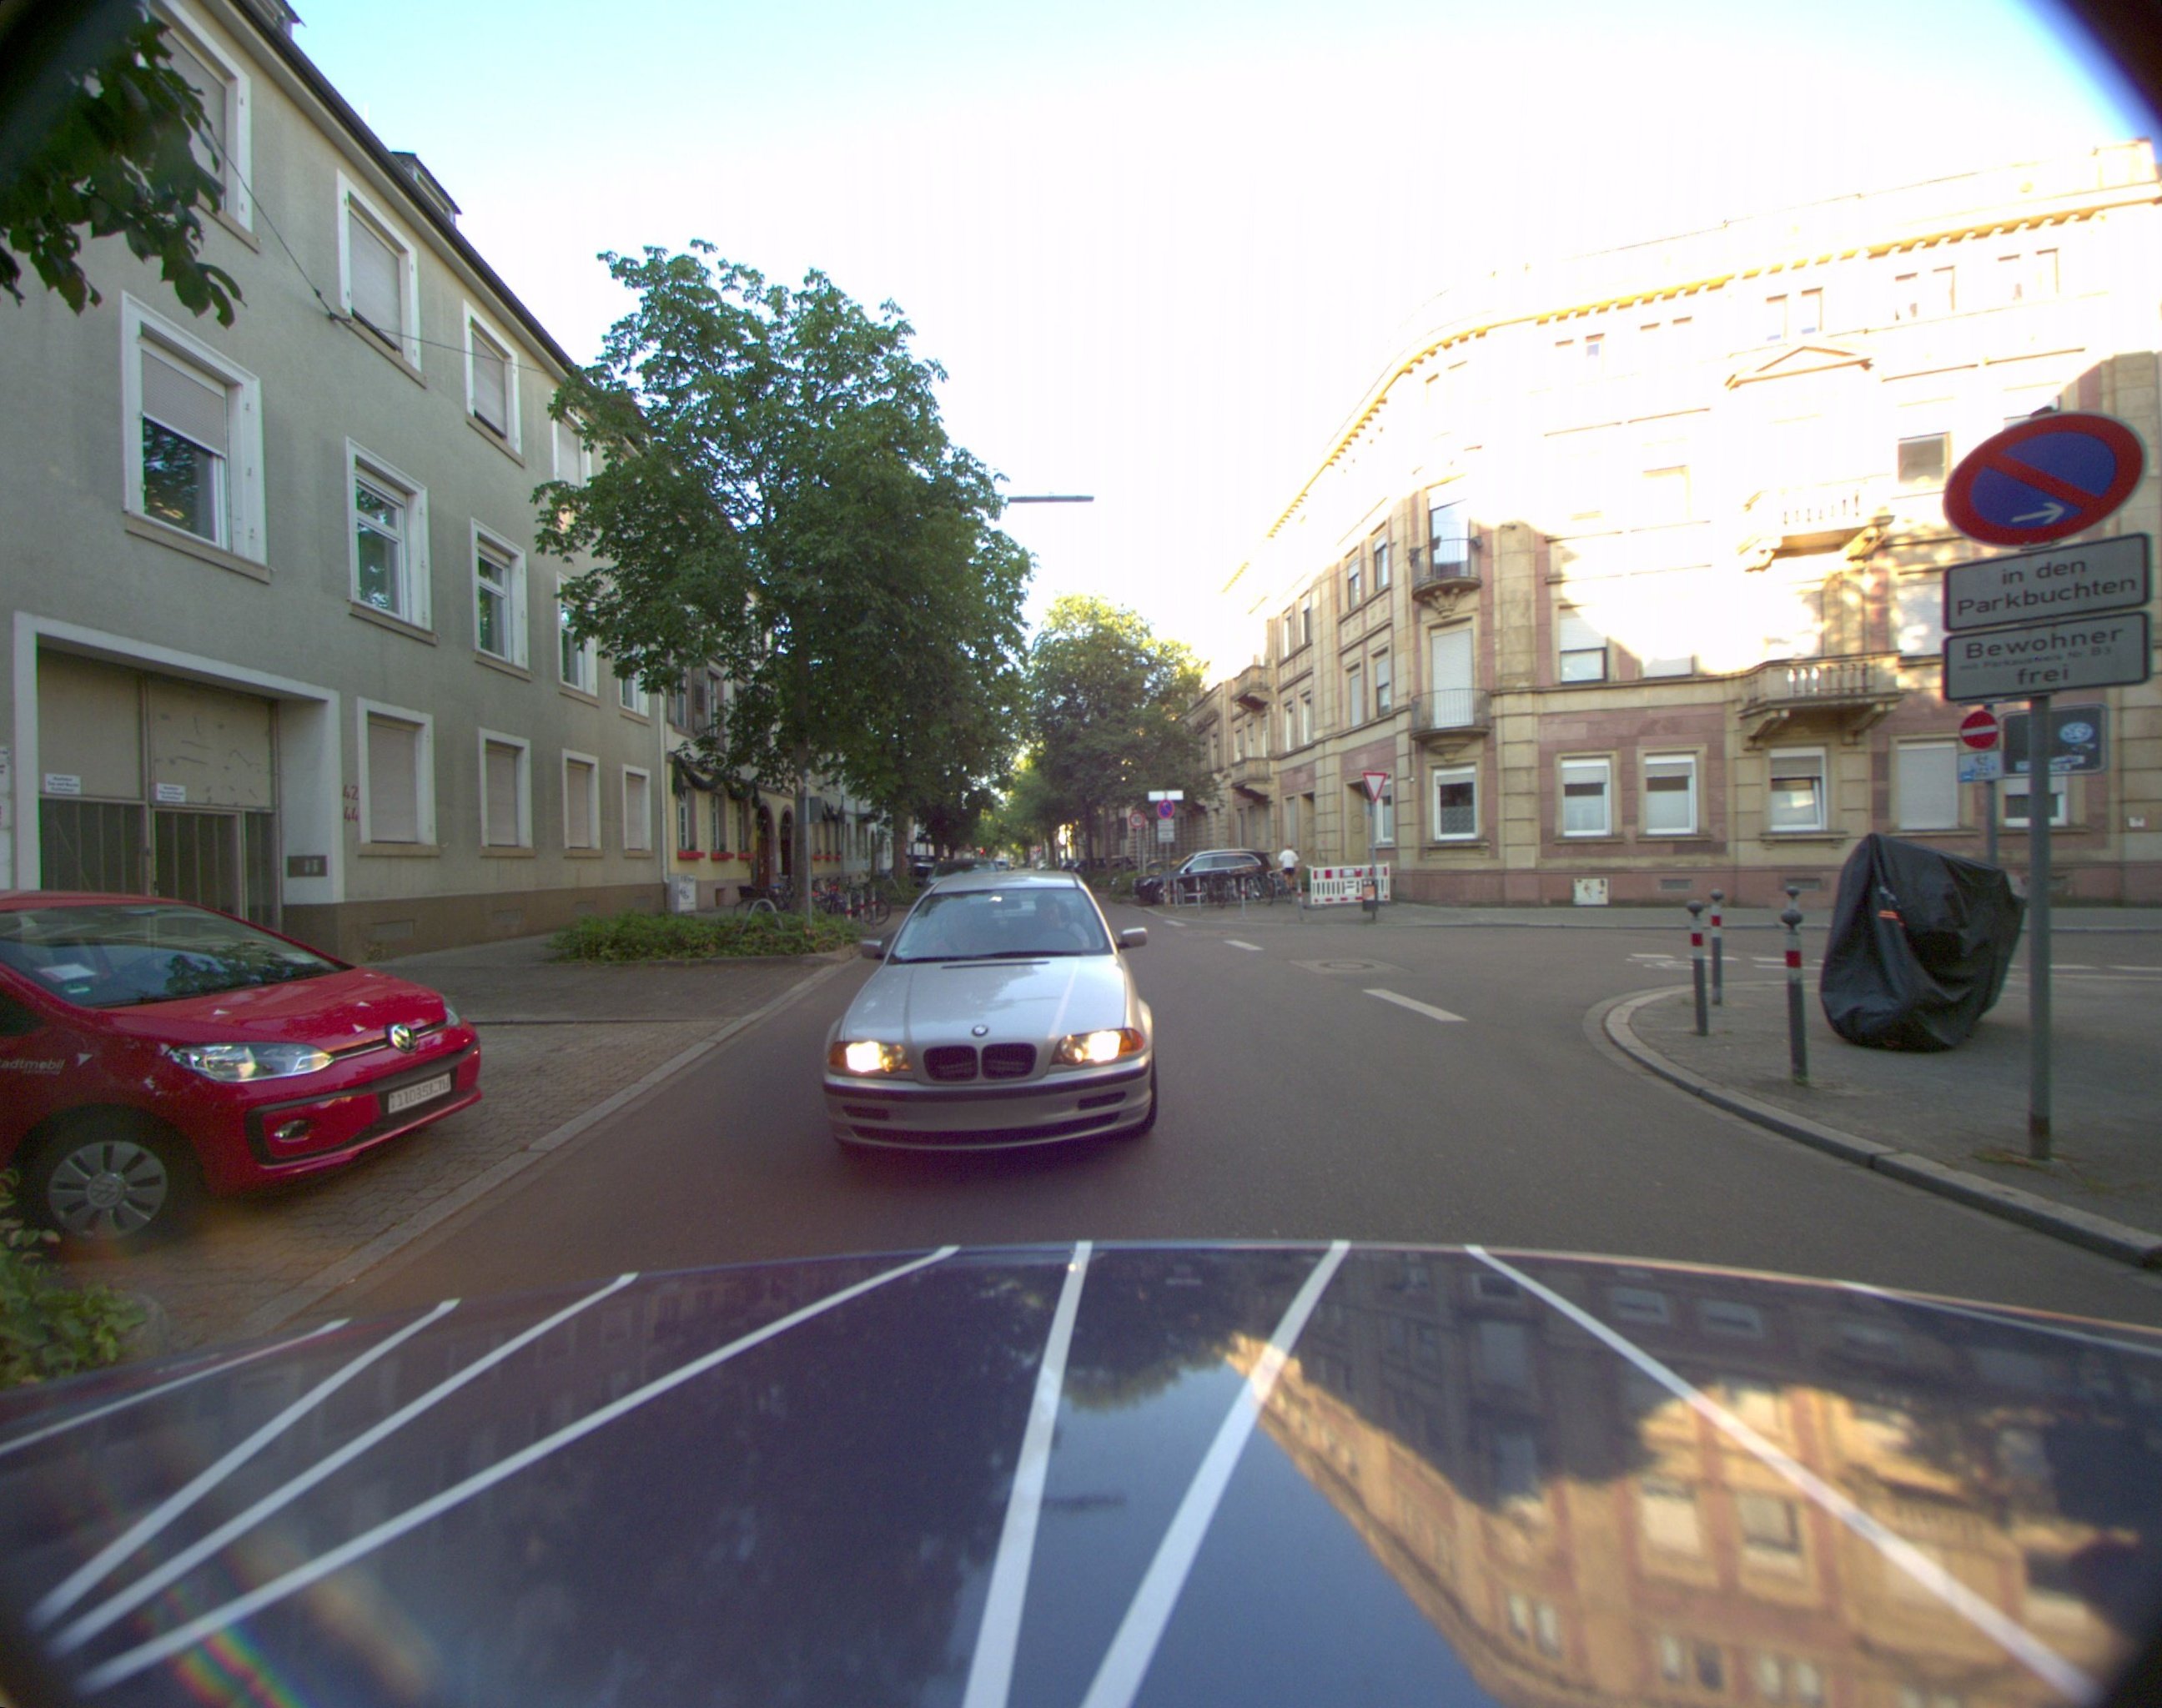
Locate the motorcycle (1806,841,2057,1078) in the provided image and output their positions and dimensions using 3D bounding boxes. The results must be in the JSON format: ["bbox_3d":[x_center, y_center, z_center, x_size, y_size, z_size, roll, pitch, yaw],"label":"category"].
[{"bbox_3d":[6.510,0.669,5.780,2.286,1.496,0.816,-1,1,-30],"label":"motorcycle"}]

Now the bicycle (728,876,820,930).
[{"bbox_3d":[-7.483,1.174,18.592,2.030,1.220,0.535,-1,0,-16],"label":"bicycle"}]

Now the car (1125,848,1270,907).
[{"bbox_3d":[3.733,0.735,24.809,4.423,1.771,1.741,-1,0,-2],"label":"car"}]

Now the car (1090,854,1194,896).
[{"bbox_3d":[2.537,0.870,32.230,4.243,1.668,1.742,-1,0,-1],"label":"car"}]

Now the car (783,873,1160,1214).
[{"bbox_3d":[-0.476,0.936,5.735,1.711,1.433,4.436,-1,0,1],"label":"car"}]

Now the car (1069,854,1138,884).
[{"bbox_3d":[1.413,0.932,48.523,4.245,1.749,1.741,-1,0,-5],"label":"car"}]

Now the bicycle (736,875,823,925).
[{"bbox_3d":[-7.804,1.174,19.738,2.029,1.220,0.535,-1,0,-13],"label":"bicycle"}]

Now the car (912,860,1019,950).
[{"bbox_3d":[-2.239,0.929,15.663,1.806,1.543,3.998,-1,0,-4],"label":"car"}]

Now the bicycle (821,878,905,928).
[{"bbox_3d":[-5.650,1.274,19.779,2.029,1.220,0.535,-1,0,-11],"label":"bicycle"}]

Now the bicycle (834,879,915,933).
[{"bbox_3d":[-5.026,1.248,18.539,1.849,1.220,0.535,-1,0,-16],"label":"bicycle"}]

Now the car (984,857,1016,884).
[{"bbox_3d":[-4.971,0.963,47.045,1.806,1.543,3.999,-1,0,-3],"label":"car"}]

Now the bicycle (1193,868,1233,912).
[{"bbox_3d":[3.753,1.011,21.803,0.562,1.144,2.038,-1,0,-6],"label":"bicycle"}]

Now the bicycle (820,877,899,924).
[{"bbox_3d":[-6.117,1.277,21.060,2.029,1.220,0.535,-1,0,-11],"label":"bicycle"}]

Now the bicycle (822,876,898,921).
[{"bbox_3d":[-6.359,1.277,21.930,2.029,1.220,0.535,-1,0,-11],"label":"bicycle"}]

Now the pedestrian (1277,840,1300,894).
[{"bbox_3d":[7.041,0.431,25.793,0.572,1.797,0.651,-1,1,3],"label":"pedestrian"}]

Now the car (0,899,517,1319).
[{"bbox_3d":[-5.152,1.042,3.576,3.621,1.468,1.663,-1,0,-7],"label":"car"}]

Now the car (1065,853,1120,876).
[{"bbox_3d":[0.863,0.836,60.993,4.245,1.749,1.741,-1,0,-5],"label":"car"}]

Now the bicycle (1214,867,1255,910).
[{"bbox_3d":[4.392,0.967,21.871,0.562,1.144,2.038,-1,0,-6],"label":"bicycle"}]

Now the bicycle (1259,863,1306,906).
[{"bbox_3d":[5.804,0.864,21.963,0.562,1.144,2.038,-2,0,-8],"label":"bicycle"}]

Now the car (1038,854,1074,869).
[{"bbox_3d":[-3.041,0.918,92.675,4.245,1.749,1.741,-1,0,-5],"label":"car"}]

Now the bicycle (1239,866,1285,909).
[{"bbox_3d":[5.185,0.944,21.913,0.562,1.144,2.038,-2,0,-8],"label":"bicycle"}]

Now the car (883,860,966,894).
[{"bbox_3d":[-8.550,1.258,41.810,4.245,1.729,1.741,-1,0,-6],"label":"car"}]

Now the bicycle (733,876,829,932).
[{"bbox_3d":[-7.023,1.165,17.889,2.030,1.220,0.535,-1,0,-16],"label":"bicycle"}]
